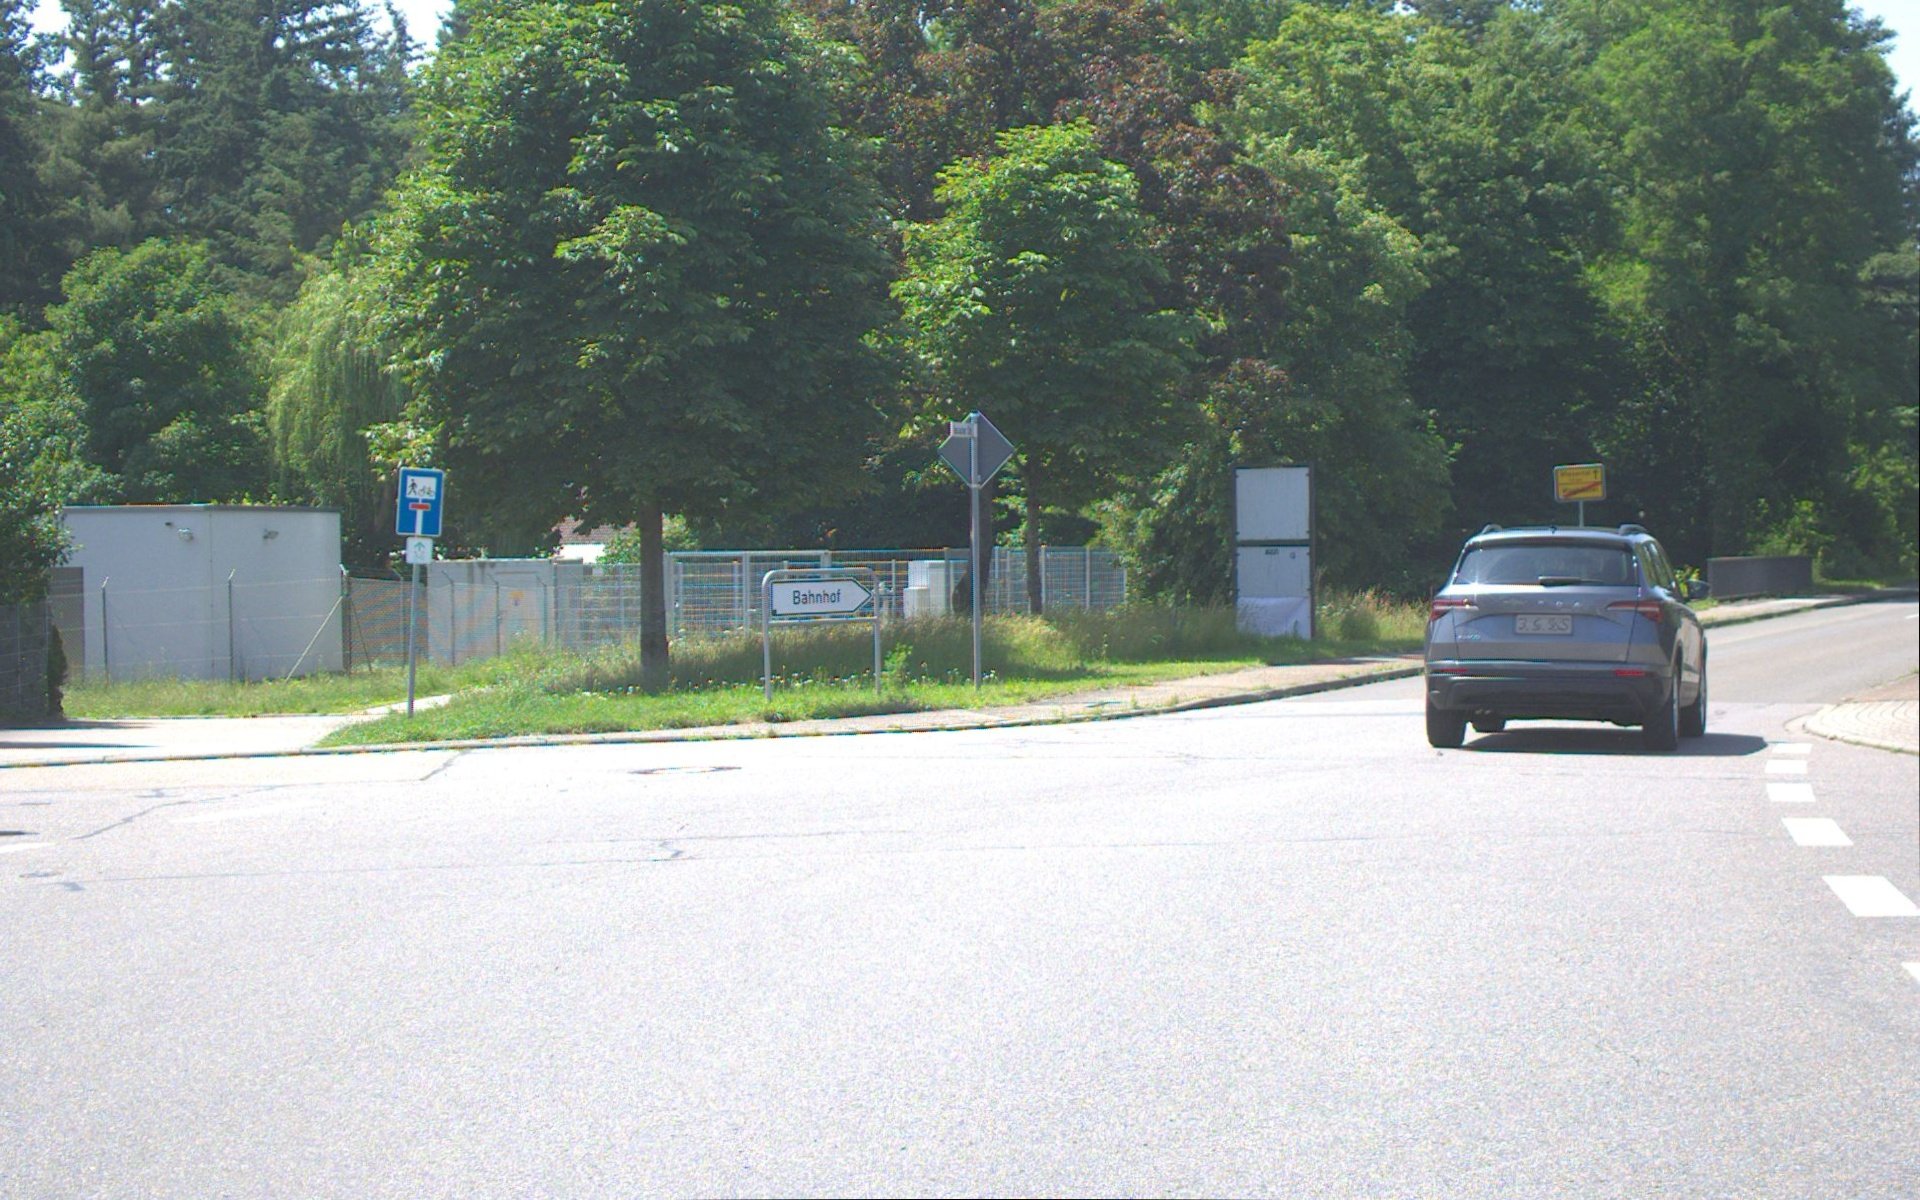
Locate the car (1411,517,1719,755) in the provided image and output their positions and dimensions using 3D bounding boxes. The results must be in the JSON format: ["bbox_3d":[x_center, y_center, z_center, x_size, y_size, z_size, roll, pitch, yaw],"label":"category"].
[{"bbox_3d":[4.593,0.223,25.686,1.764,1.612,3.997,1,1,17],"label":"car"}]
